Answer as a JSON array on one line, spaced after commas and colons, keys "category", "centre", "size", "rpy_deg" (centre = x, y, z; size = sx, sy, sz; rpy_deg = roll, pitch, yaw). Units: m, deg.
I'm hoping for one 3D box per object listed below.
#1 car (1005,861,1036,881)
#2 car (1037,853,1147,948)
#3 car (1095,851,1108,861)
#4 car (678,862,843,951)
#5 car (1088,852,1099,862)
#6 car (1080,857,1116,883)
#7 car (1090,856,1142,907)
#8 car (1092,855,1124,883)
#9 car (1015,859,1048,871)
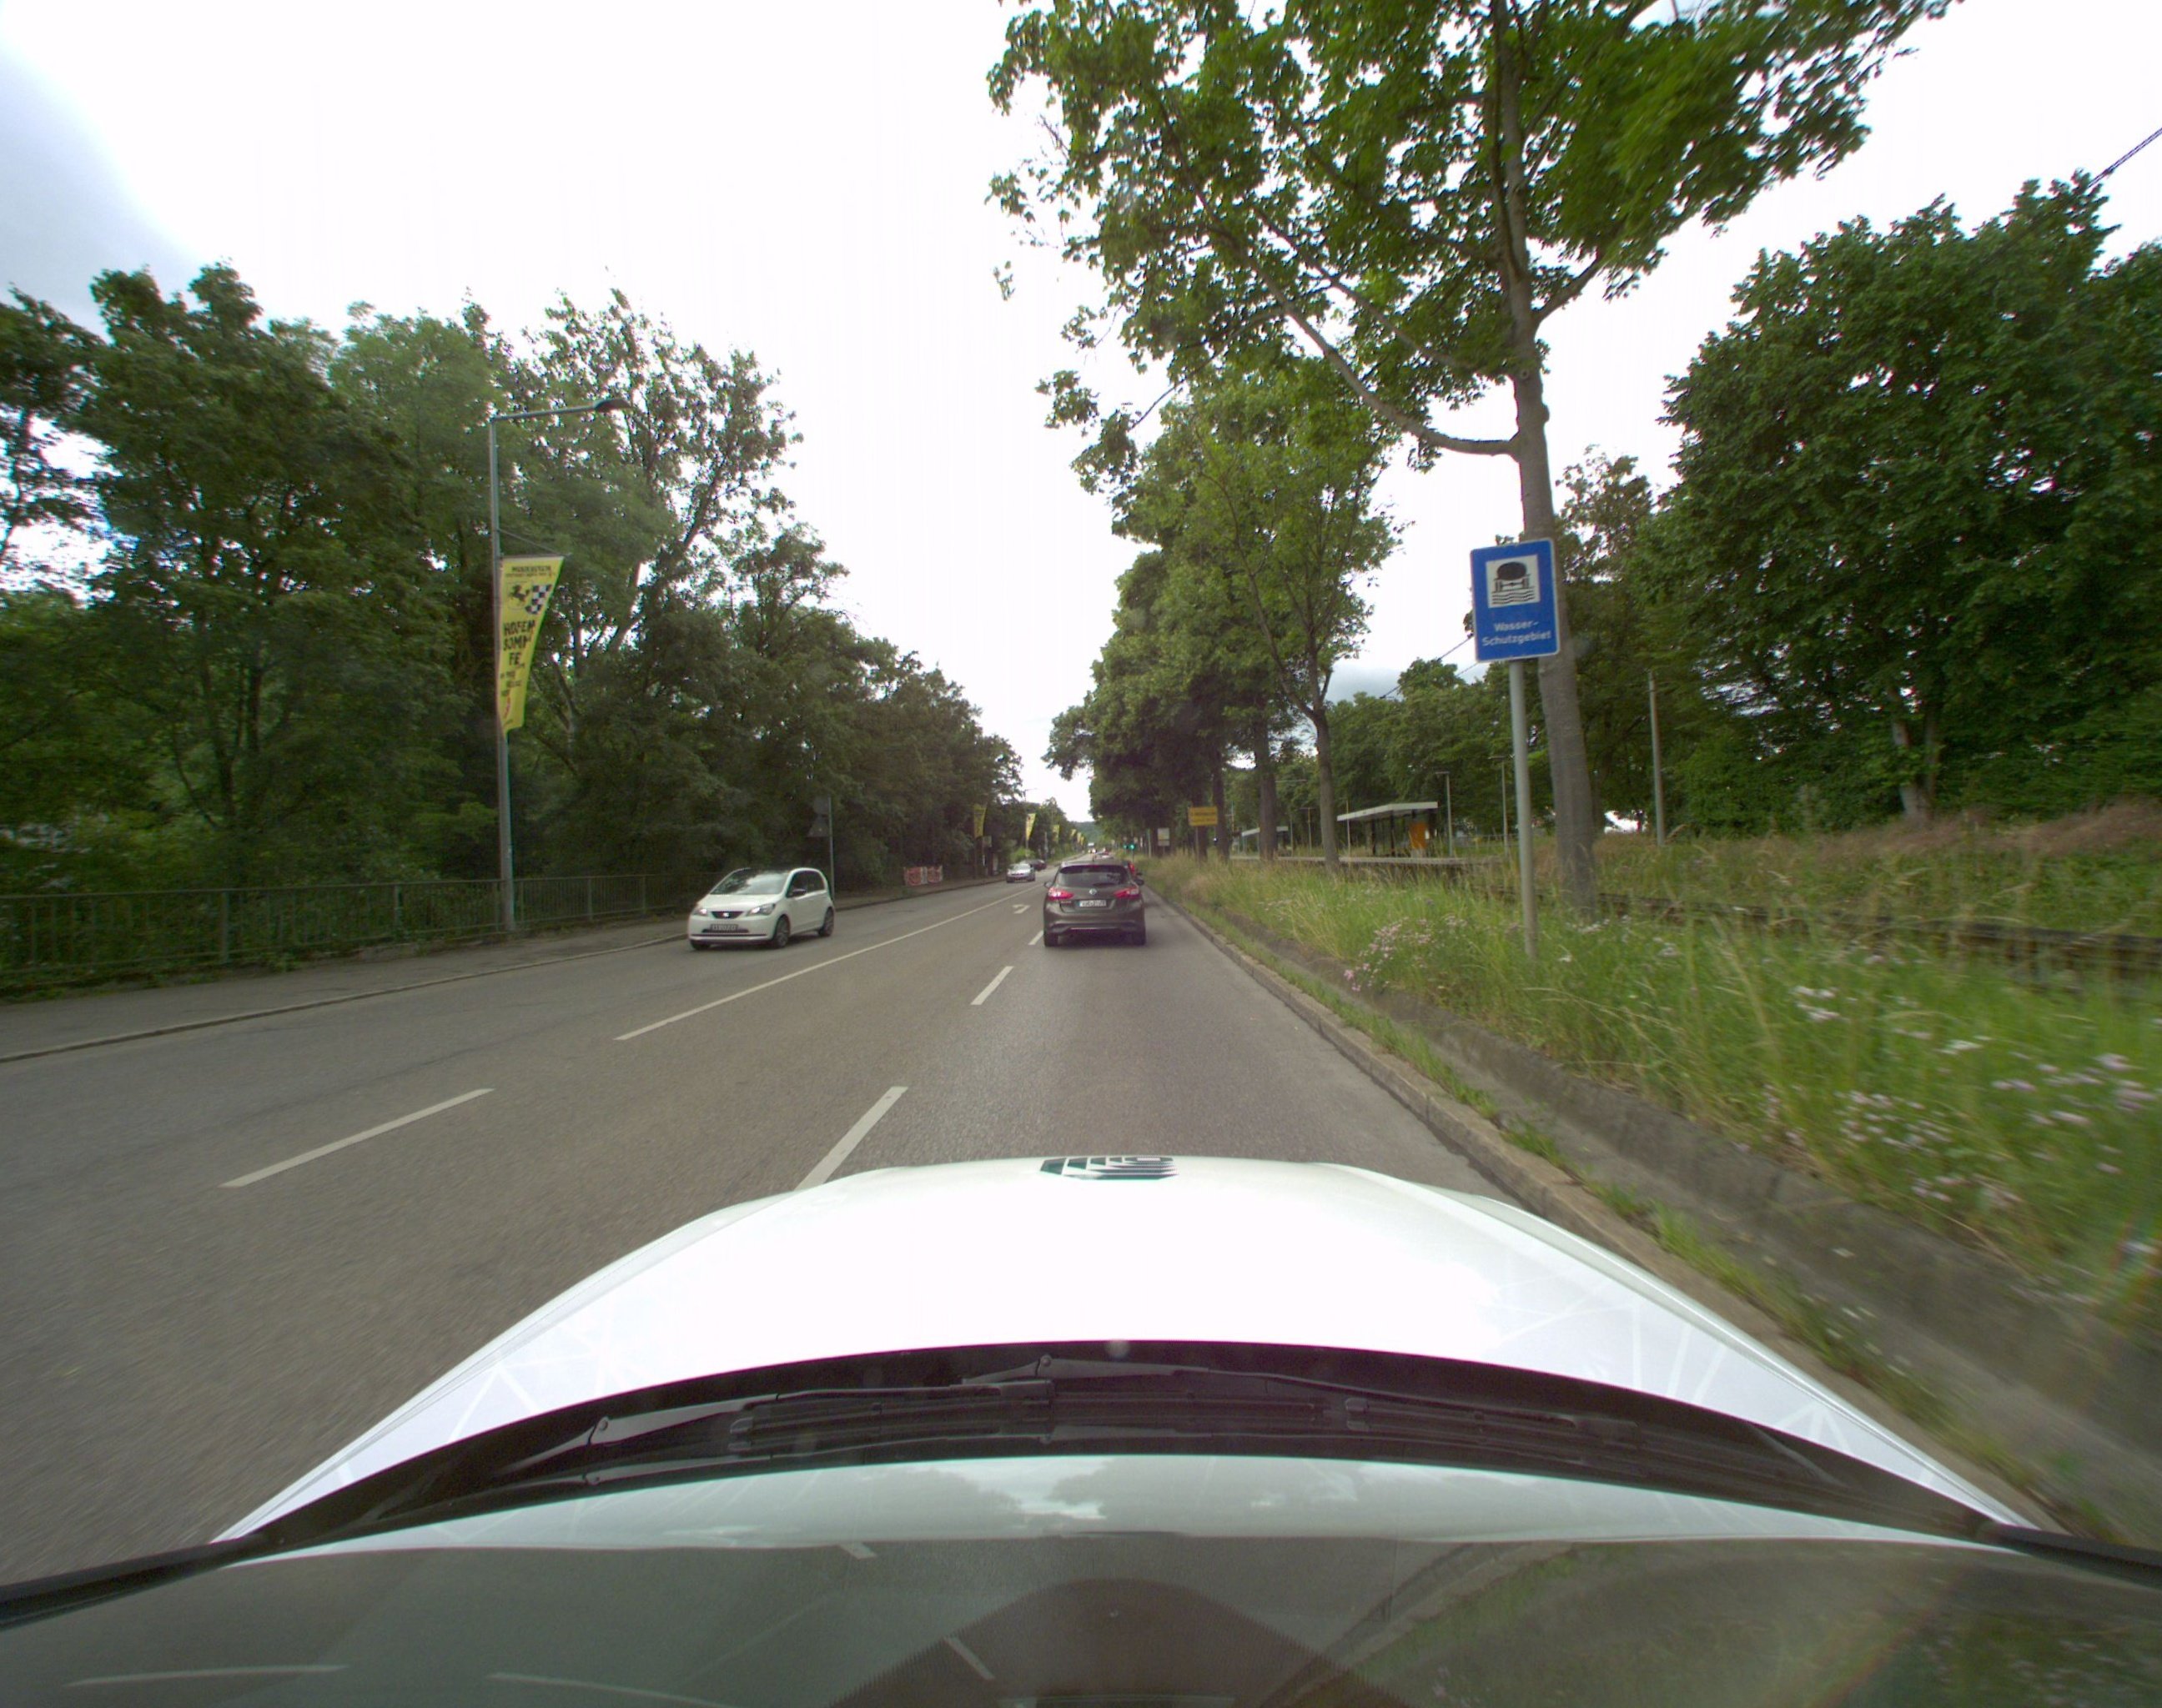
[{"category": "car", "centre": [-4.290, 1.192, 57.949], "size": [1.751, 1.337, 3.698], "rpy_deg": [-2, 0, 2]}, {"category": "car", "centre": [0.258, 0.780, 15.273], "size": [1.776, 1.507, 3.698], "rpy_deg": [-2, 0, 2]}, {"category": "car", "centre": [3.173, 0.328, 125.186], "size": [1.986, 1.574, 4.001], "rpy_deg": [0, -1, 2]}, {"category": "car", "centre": [-6.067, 0.920, 15.876], "size": [1.574, 1.466, 3.698], "rpy_deg": [-2, 0, 2]}, {"category": "car", "centre": [2.529, 0.689, 166.734], "size": [1.987, 2.014, 3.998], "rpy_deg": [0, -1, -1]}, {"category": "car", "centre": [1.014, 0.910, 46.923], "size": [1.986, 1.412, 4.001], "rpy_deg": [0, -1, 2]}, {"category": "car", "centre": [1.092, 0.824, 25.925], "size": [1.496, 1.441, 3.543], "rpy_deg": [-2, 0, 2]}, {"category": "car", "centre": [1.523, 0.809, 45.613], "size": [1.685, 1.441, 3.543], "rpy_deg": [-2, 0, 2]}, {"category": "car", "centre": [-6.073, 1.301, 99.656], "size": [3.651, 1.337, 1.773], "rpy_deg": [-2, -1, 22]}]
